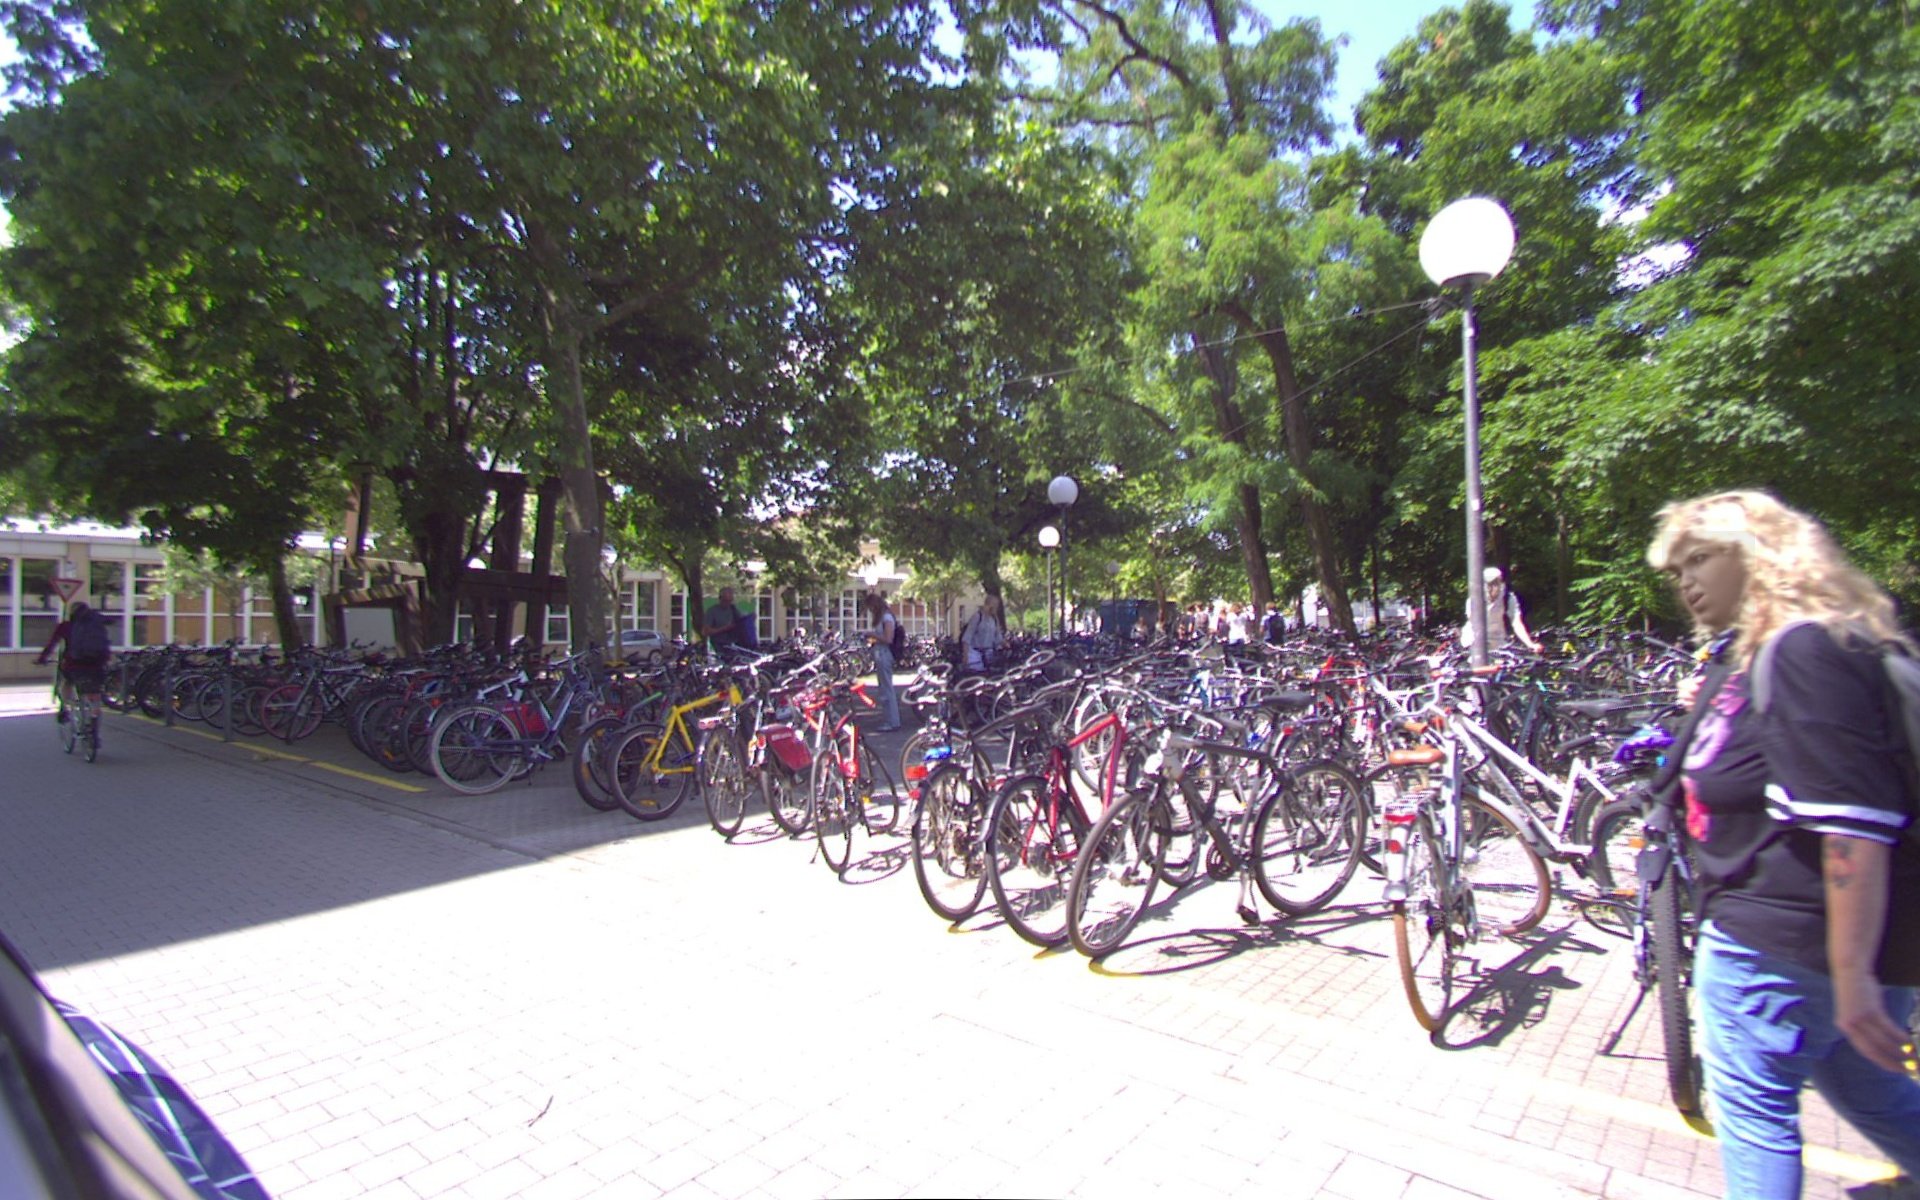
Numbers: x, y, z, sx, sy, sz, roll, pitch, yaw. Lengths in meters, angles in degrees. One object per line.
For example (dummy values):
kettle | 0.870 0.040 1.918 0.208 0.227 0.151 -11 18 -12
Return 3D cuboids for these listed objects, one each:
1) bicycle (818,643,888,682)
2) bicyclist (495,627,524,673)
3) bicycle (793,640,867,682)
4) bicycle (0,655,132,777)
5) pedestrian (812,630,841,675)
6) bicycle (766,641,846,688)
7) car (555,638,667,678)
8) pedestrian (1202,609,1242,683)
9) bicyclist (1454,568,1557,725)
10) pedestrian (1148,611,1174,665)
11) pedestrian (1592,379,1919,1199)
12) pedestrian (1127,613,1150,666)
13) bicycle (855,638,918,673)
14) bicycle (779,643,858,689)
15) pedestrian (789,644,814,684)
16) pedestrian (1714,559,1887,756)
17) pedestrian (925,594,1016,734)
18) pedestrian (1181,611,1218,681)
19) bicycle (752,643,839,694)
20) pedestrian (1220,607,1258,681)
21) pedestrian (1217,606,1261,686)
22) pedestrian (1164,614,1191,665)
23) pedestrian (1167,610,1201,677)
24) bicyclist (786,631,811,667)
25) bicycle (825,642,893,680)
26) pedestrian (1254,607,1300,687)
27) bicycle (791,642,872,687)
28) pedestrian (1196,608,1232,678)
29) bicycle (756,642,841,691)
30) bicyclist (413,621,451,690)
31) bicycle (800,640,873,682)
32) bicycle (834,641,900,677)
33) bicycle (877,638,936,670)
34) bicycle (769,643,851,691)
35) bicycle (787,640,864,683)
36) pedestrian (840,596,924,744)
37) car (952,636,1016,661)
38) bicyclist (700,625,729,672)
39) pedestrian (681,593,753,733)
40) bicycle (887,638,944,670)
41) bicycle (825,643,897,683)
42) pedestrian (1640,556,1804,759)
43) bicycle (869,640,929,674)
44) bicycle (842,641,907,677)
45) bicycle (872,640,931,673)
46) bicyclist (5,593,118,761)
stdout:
bicycle | -3.175 1.860 30.071 2.007 1.116 0.501 -1 -1 8
bicyclist | -15.678 1.738 35.251 0.605 1.546 0.717 0 -2 42
bicycle | -3.575 1.686 27.839 1.984 1.116 0.501 -1 -1 11
bicycle | -9.767 1.201 10.995 2.105 1.159 0.764 -2 -1 38
pedestrian | -5.180 2.030 39.219 0.727 1.697 0.863 -3 -3 37
bicycle | -3.771 1.575 24.804 1.886 1.116 0.501 -1 -1 11
car | -15.691 2.549 45.664 1.836 1.630 4.480 -1 -1 38
pedestrian | 6.159 1.065 23.843 0.761 1.692 0.905 -1 -1 7
bicyclist | 5.689 0.472 10.576 0.586 1.580 0.723 -1 -1 -10
pedestrian | 6.704 1.264 33.775 0.608 1.788 0.652 -2 -2 34
pedestrian | 1.780 0.513 1.814 0.901 1.692 0.764 -2 -3 21
pedestrian | 6.044 1.330 34.213 0.501 1.785 0.663 -2 -2 33
bicycle | -2.442 1.838 33.527 2.011 1.116 0.500 -1 -1 14
bicycle | -3.554 1.666 25.411 1.886 1.116 0.501 -1 -1 11
pedestrian | -6.310 2.530 40.219 0.569 1.531 0.831 -2 -2 32
pedestrian | 8.200 0.539 9.914 0.757 1.817 0.986 -1 -1 -15
pedestrian | 0.138 0.799 12.928 0.902 1.716 0.763 -2 -2 27
pedestrian | 5.991 1.143 25.359 0.761 1.692 0.905 -1 -1 7
bicycle | -3.745 1.562 23.009 1.884 1.116 0.501 -1 -1 8
pedestrian | 6.980 1.094 25.345 0.761 1.788 0.905 -1 -1 7
pedestrian | 6.055 0.998 22.000 0.761 1.692 0.905 -1 -1 7
pedestrian | 7.722 1.403 35.898 0.765 1.788 0.900 -2 -2 23
pedestrian | 6.099 1.172 27.564 0.761 1.788 0.905 -1 -1 7
bicyclist | -7.147 2.160 44.817 0.639 1.585 0.864 -1 -2 37
bicycle | -3.076 1.860 30.836 2.007 1.116 0.501 -1 -1 8
pedestrian | 6.848 1.007 21.896 0.761 1.692 0.905 -1 -1 7
bicycle | -3.292 1.648 25.910 1.984 1.116 0.501 -1 -1 11
pedestrian | 6.653 1.112 26.542 0.761 1.788 0.905 -1 -1 7
bicycle | -3.753 1.547 23.557 1.884 1.116 0.501 -1 -1 8
bicyclist | -15.101 1.572 28.924 0.853 1.906 0.808 1 1 -32
bicycle | -3.461 1.712 28.423 1.984 1.116 0.501 -1 -1 11
bicycle | -2.931 1.856 31.872 2.011 1.116 0.500 -1 -1 14
bicycle | -1.907 1.924 36.066 2.011 1.116 0.500 -1 -1 14
bicycle | -3.583 1.603 24.216 1.886 1.116 0.501 -1 -1 11
bicycle | -3.601 1.645 27.077 1.984 1.116 0.501 -1 -1 11
pedestrian | -0.962 0.822 12.305 0.892 1.716 0.772 -1 -1 -12
car | 1.615 3.122 65.758 1.836 1.553 4.480 -3 -3 38
bicyclist | -10.239 2.011 42.256 0.674 1.902 0.957 0 1 38
pedestrian | -3.261 0.832 13.645 0.701 1.820 0.768 -1 -1 8
bicycle | -1.615 1.972 37.005 2.011 1.116 0.500 -1 -1 14
bicycle | -2.879 1.831 29.494 2.007 1.116 0.501 -1 -1 8
pedestrian | 7.270 0.524 9.689 0.820 1.829 0.885 -1 -2 -19
bicycle | -2.083 1.949 34.614 2.011 1.116 0.500 -1 -1 14
bicycle | -2.728 1.892 32.374 2.011 1.116 0.500 -1 -1 14
bicycle | -2.049 1.986 35.452 2.011 1.116 0.500 -1 -1 14
bicyclist | -9.752 0.800 10.980 0.910 1.729 0.764 -2 -1 38
